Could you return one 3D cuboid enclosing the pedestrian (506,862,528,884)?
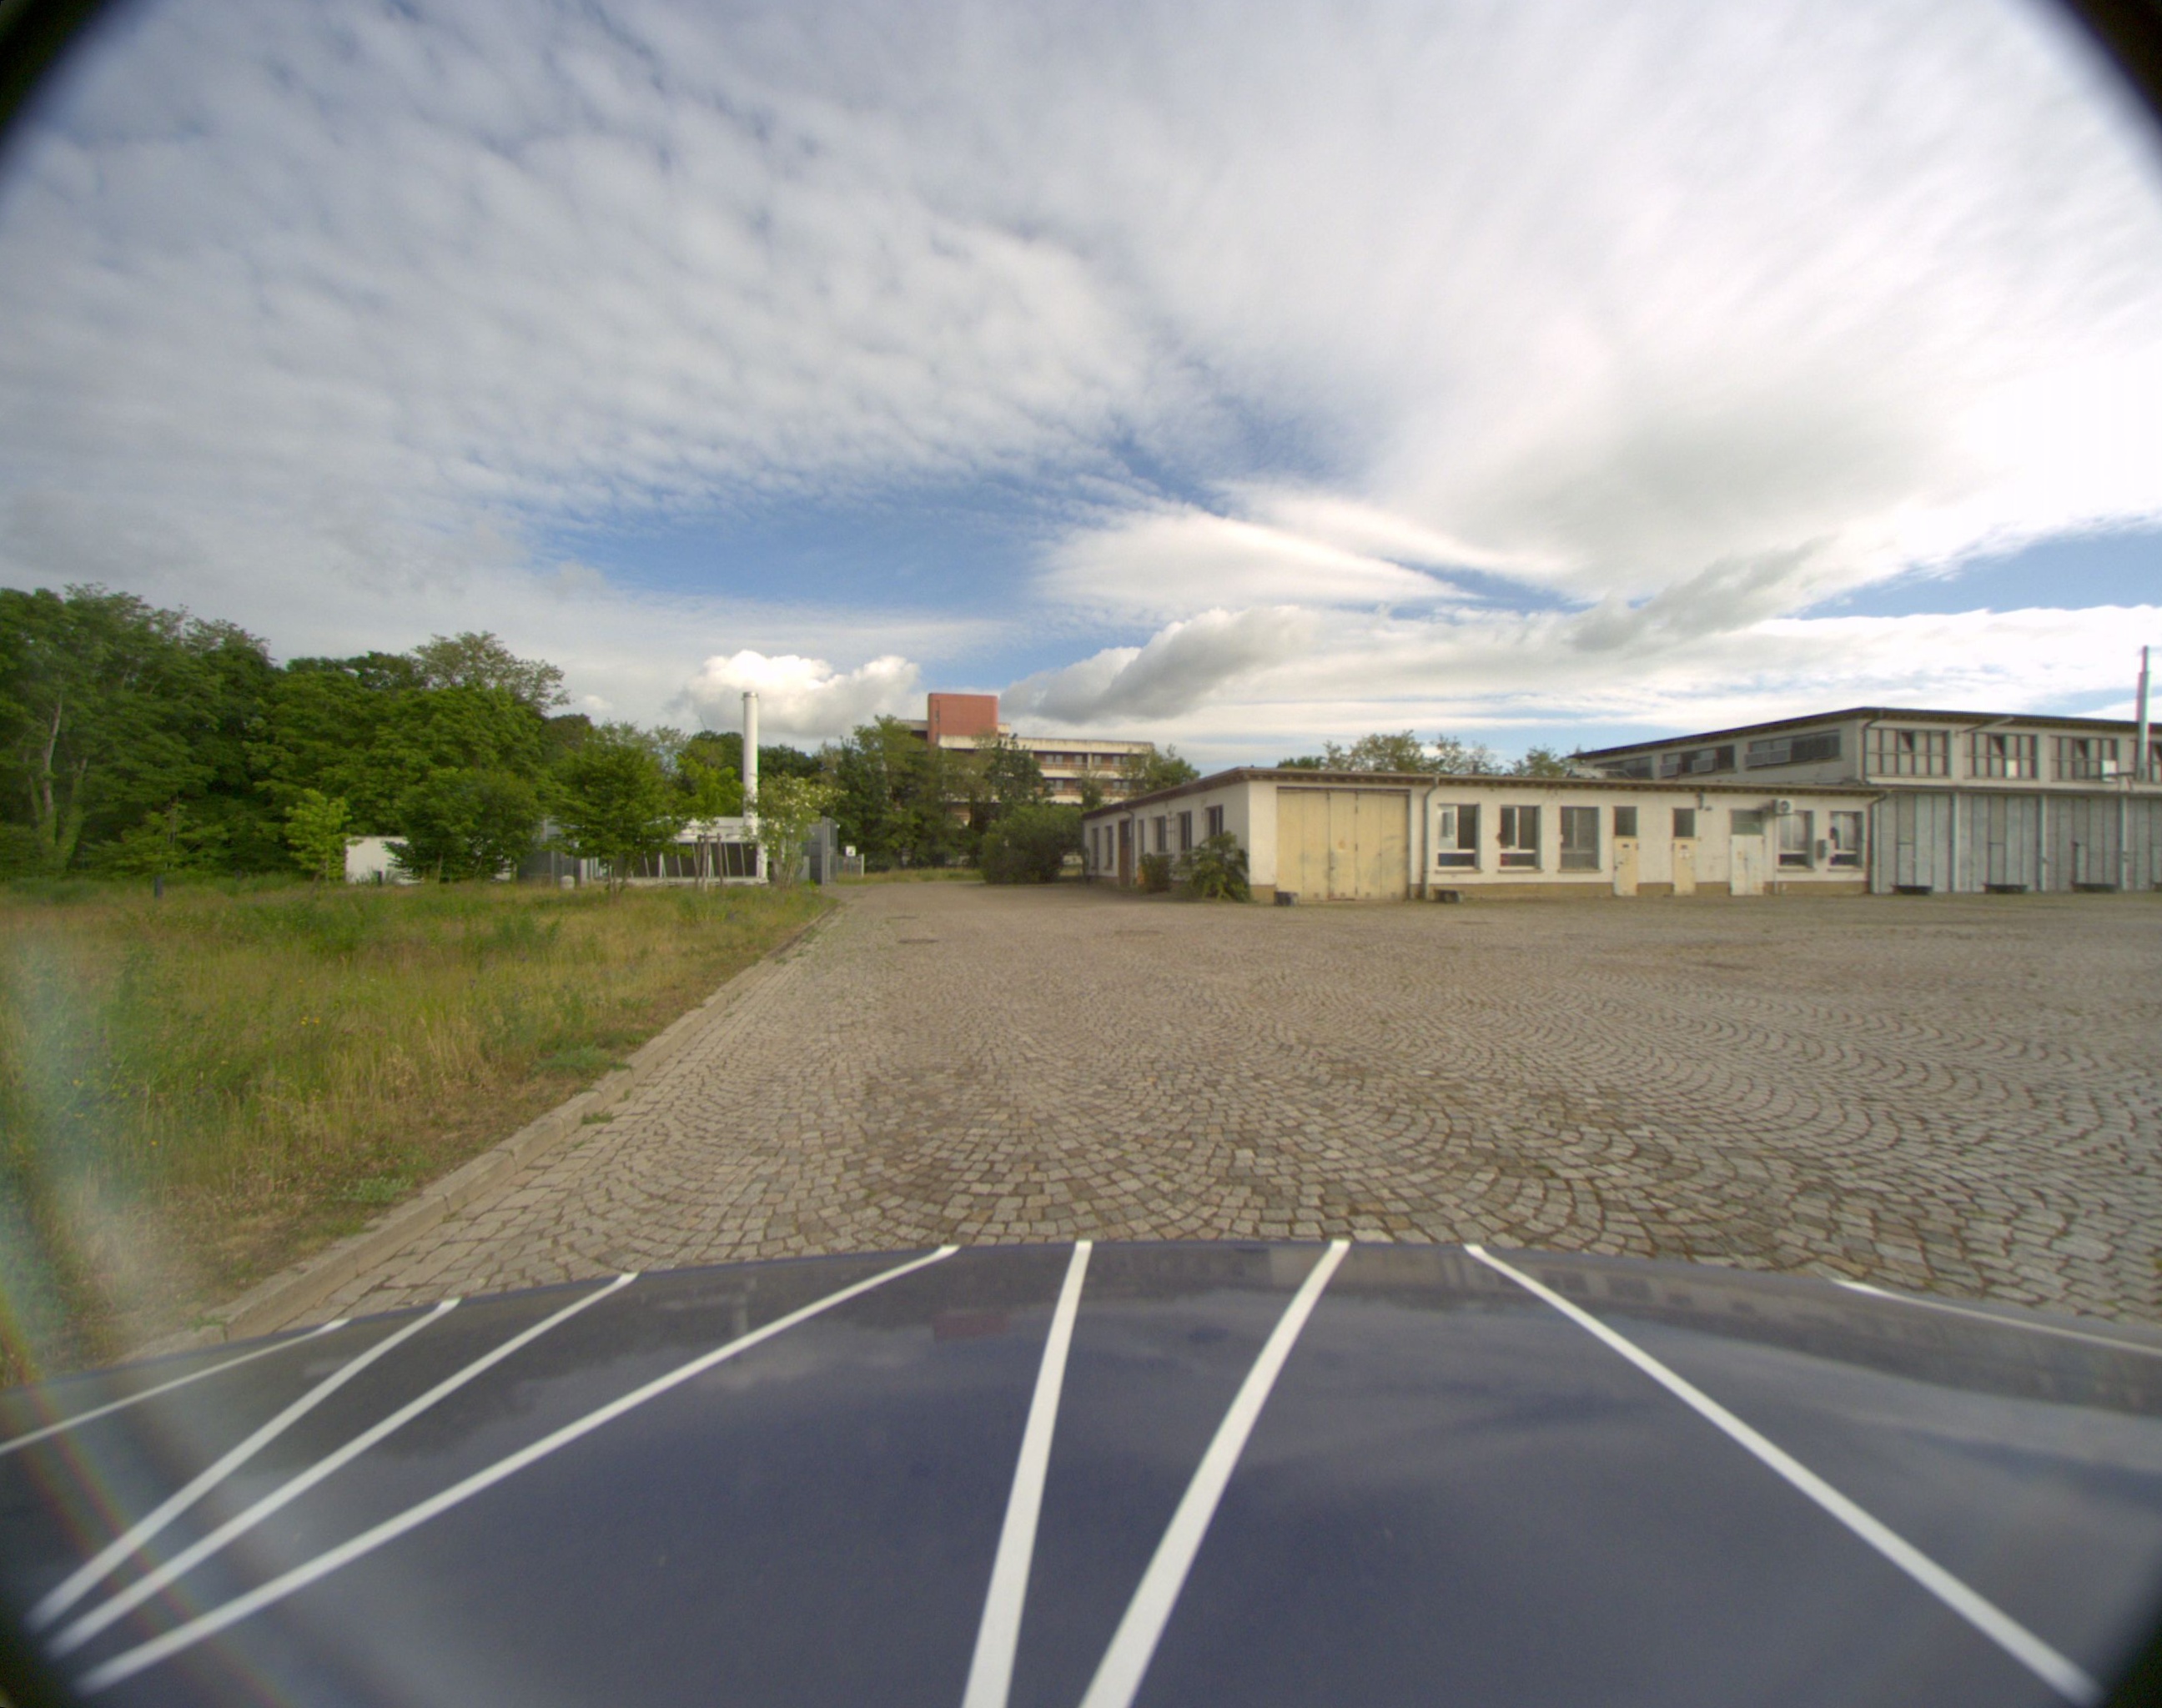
[{"bbox_3d":[-41.866,1.403,56.386,1.038,1.672,0.843,0,0,-12],"label":"pedestrian"}]
